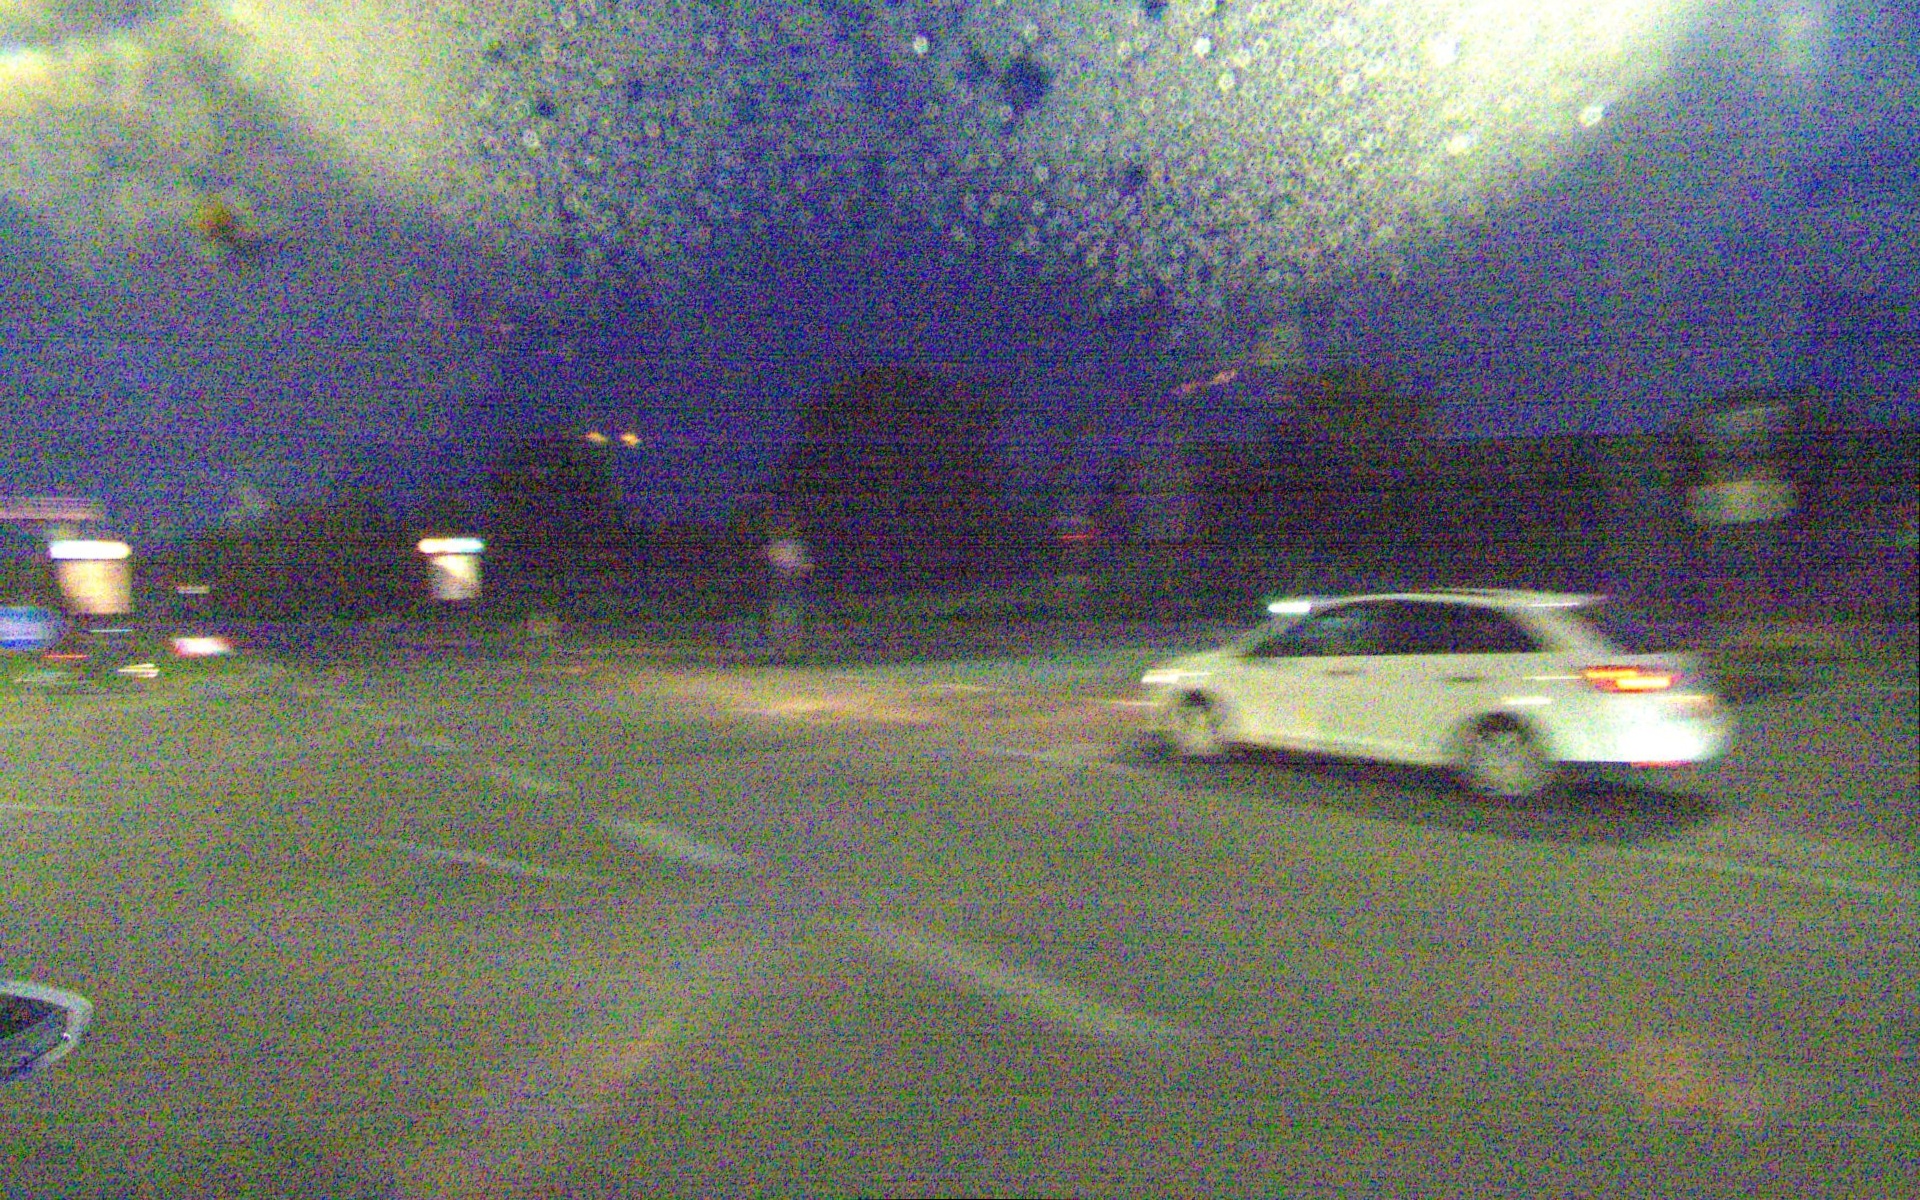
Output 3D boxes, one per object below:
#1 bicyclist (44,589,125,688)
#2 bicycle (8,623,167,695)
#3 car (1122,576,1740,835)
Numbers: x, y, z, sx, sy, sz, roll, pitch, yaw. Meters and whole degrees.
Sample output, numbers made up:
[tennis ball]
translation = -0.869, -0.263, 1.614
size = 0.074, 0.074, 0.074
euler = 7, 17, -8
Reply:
[bicyclist]
translation = -15.346, 0.653, 17.564
size = 0.598, 1.673, 0.990
euler = 0, 1, 45
[bicycle]
translation = -15.322, 1.001, 17.629
size = 0.688, 1.116, 2.048
euler = 0, 1, 45
[car]
translation = 3.354, 0.606, 7.806
size = 1.606, 1.463, 4.083
euler = -2, 1, -40
